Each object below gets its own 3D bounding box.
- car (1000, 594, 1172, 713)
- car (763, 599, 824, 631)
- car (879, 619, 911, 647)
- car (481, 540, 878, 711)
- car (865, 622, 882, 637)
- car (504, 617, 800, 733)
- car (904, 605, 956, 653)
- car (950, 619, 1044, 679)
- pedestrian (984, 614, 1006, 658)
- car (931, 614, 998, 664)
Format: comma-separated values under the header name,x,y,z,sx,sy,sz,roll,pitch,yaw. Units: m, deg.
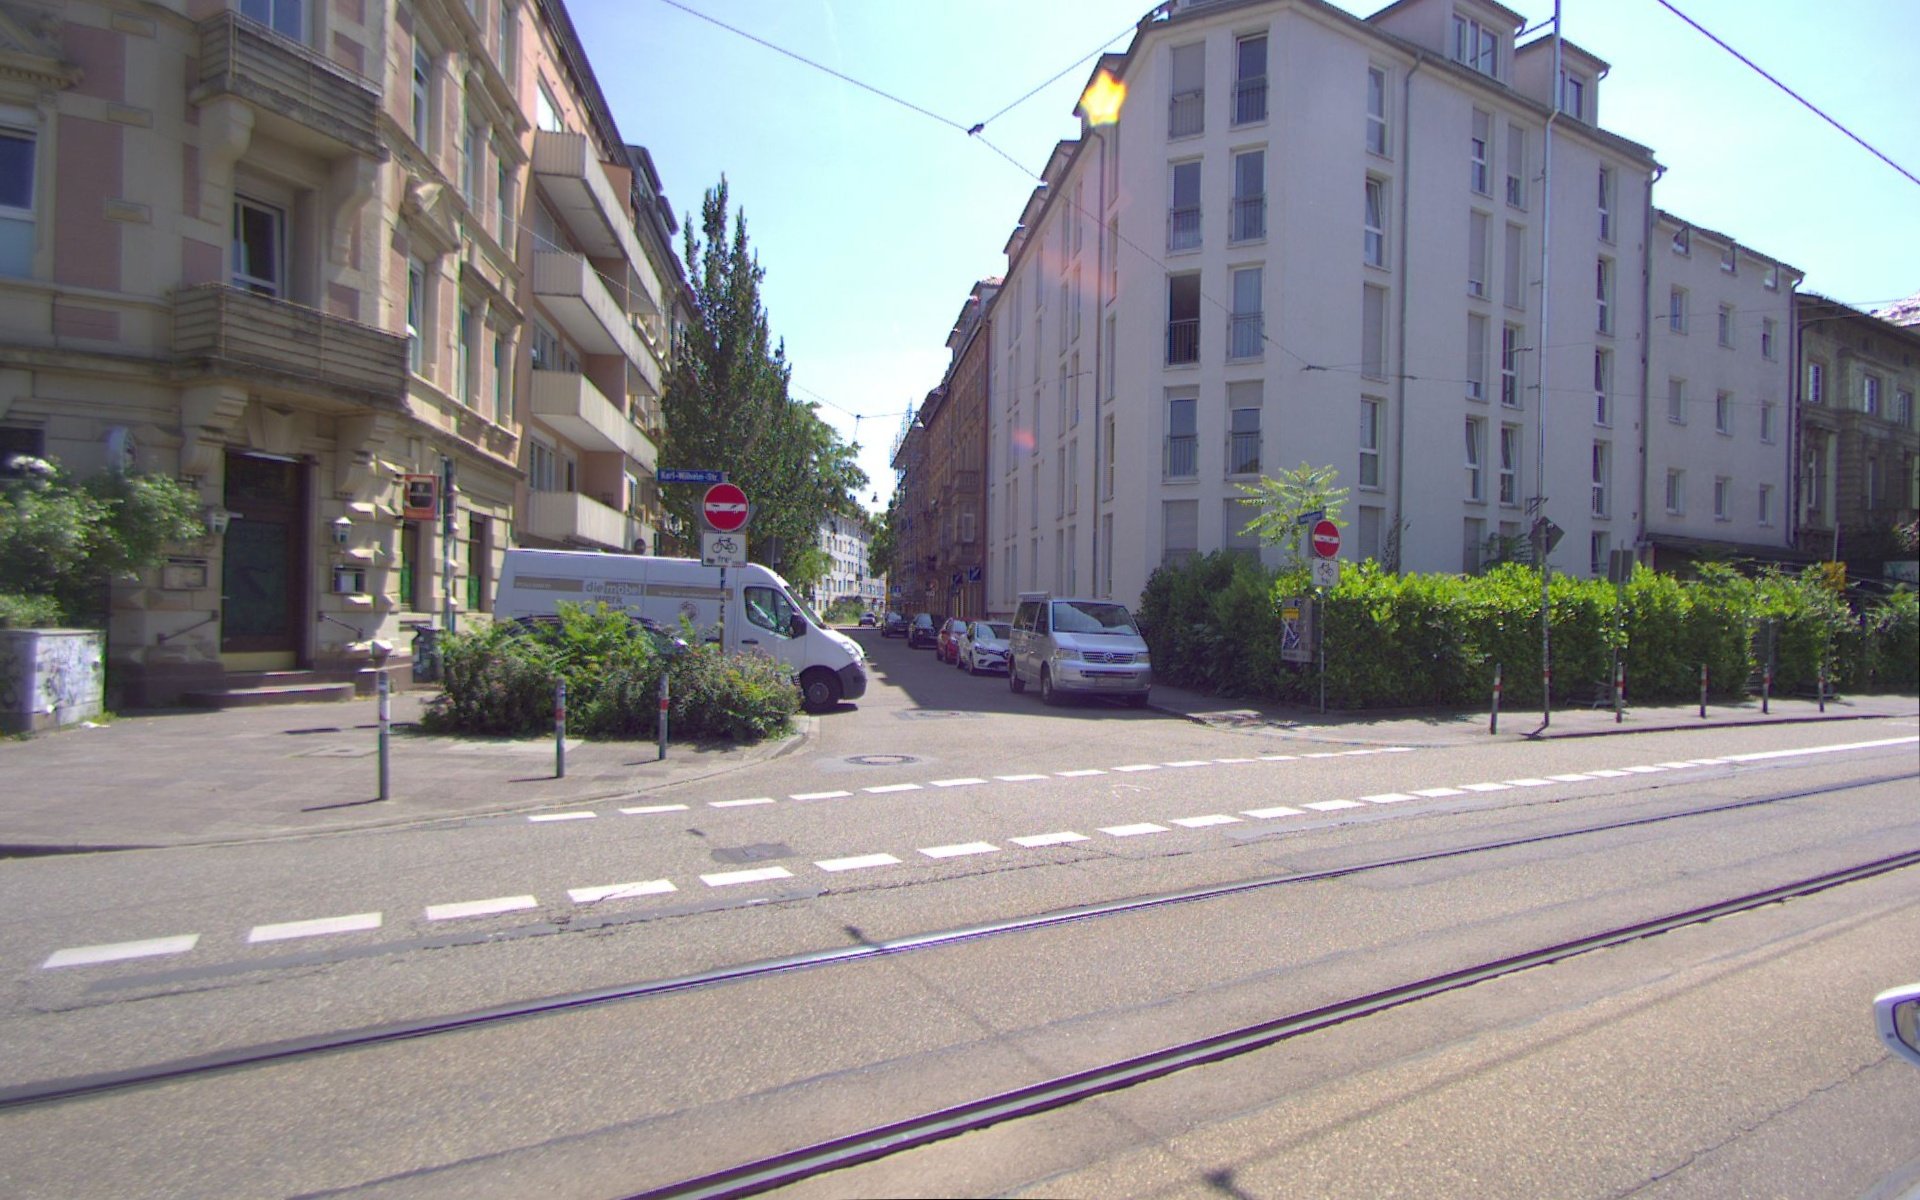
name,x,y,z,sx,sy,sz,roll,pitch,yaw
car,2.246,0.943,19.396,2.117,2.011,4.699,1,-1,-8
car,-11.734,1.066,70.690,3.934,2.040,1.993,2,-1,-16
car,-4.127,2.049,63.483,1.758,1.646,3.753,1,-1,-7
car,-4.549,0.461,17.091,6.079,2.624,2.122,1,-1,-11
car,-8.893,3.026,103.383,1.507,1.516,3.192,2,-1,-9
car,-4.170,1.010,13.970,3.694,1.457,1.590,2,-1,-15
car,-1.434,1.286,45.884,1.963,2.040,4.044,1,-1,-7
car,0.958,1.330,28.341,1.963,1.513,4.044,1,-1,-7
pedestrian,1.451,1.484,41.463,0.773,1.757,0.652,1,0,-7
car,0.095,1.249,33.571,1.688,1.547,4.044,1,-1,-7
